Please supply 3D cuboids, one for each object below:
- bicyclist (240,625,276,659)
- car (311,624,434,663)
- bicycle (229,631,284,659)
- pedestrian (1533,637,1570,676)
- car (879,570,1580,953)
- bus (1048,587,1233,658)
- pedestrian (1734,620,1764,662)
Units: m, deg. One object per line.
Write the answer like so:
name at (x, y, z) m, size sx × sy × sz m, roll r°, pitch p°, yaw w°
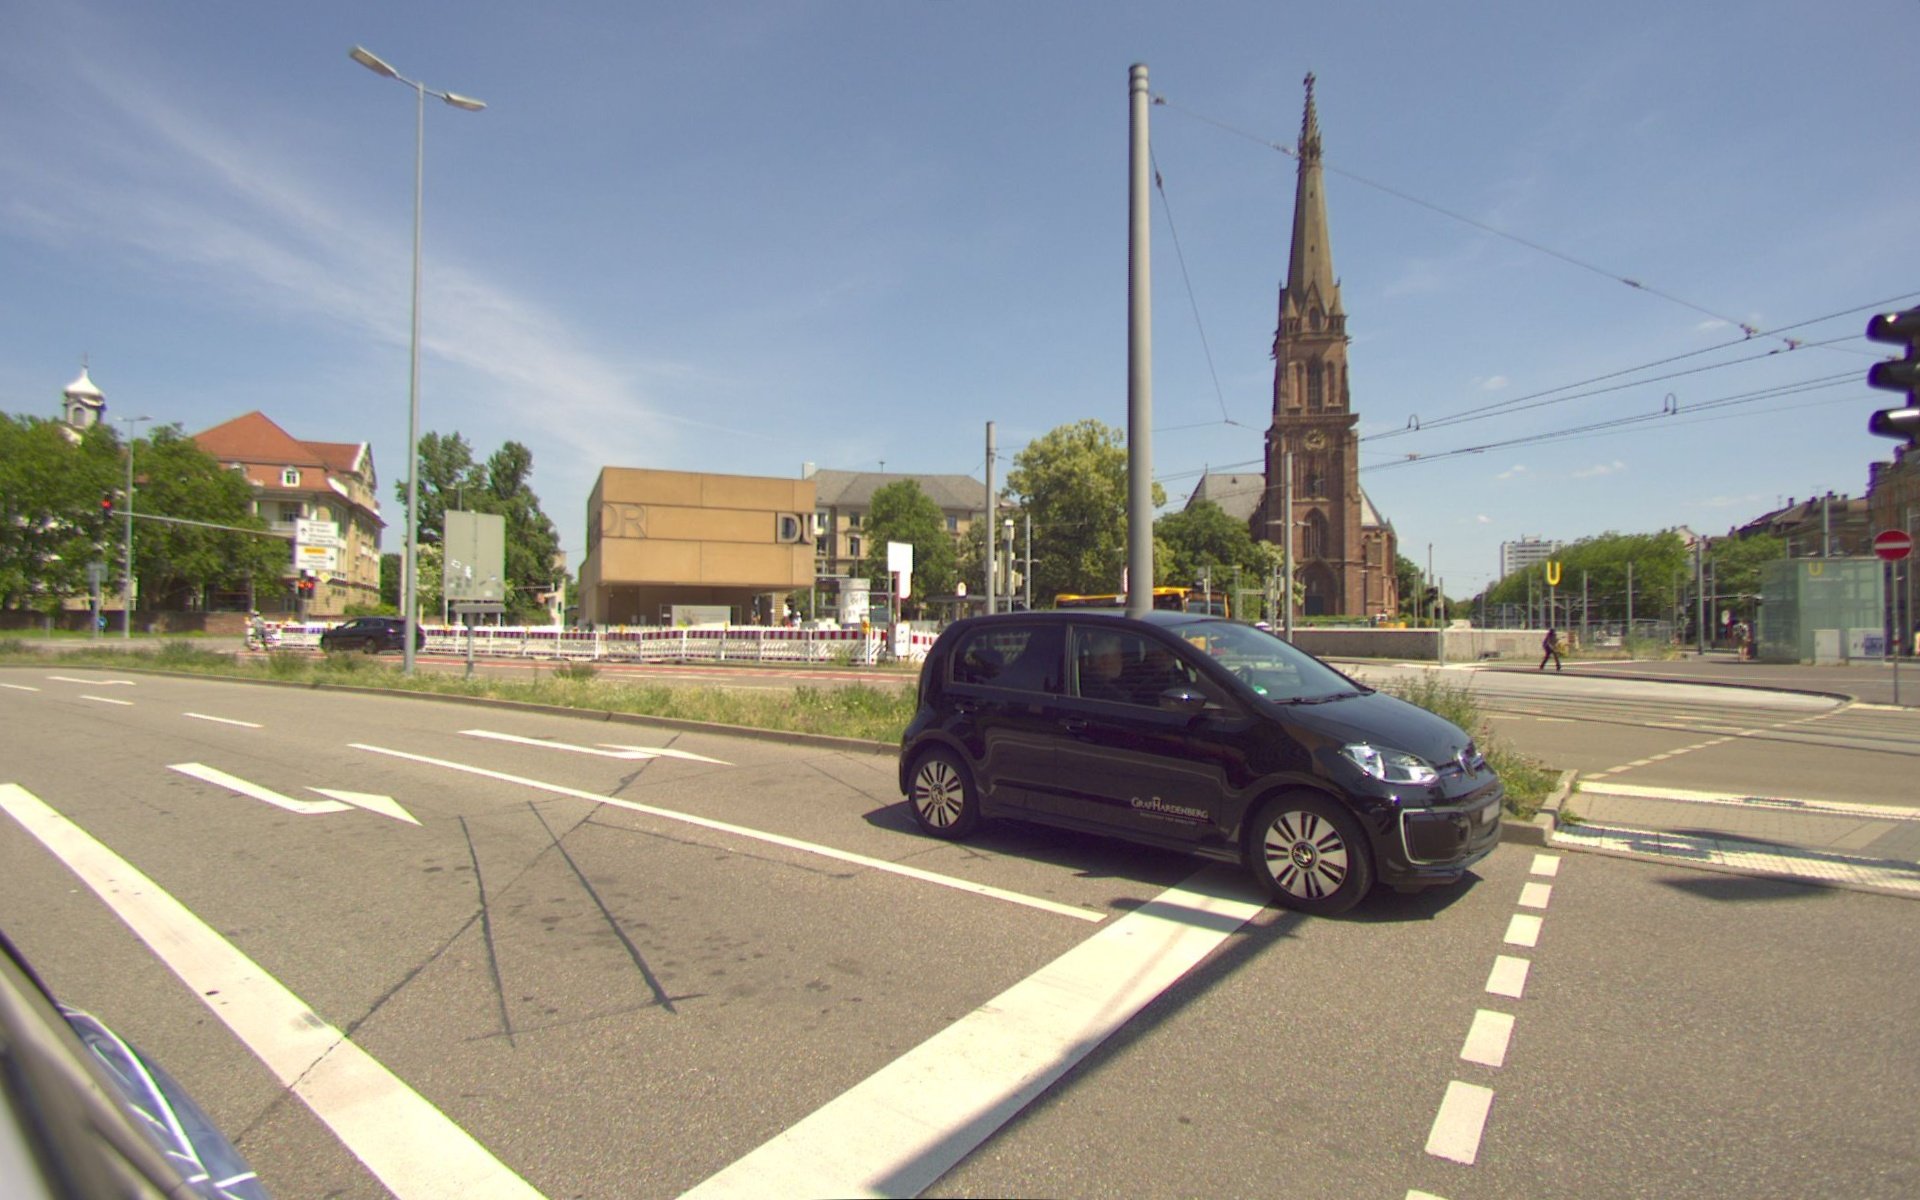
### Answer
bicyclist at (-28.919, 1.730, 41.697) m, size 1.431 × 1.366 × 0.582 m, roll 0°, pitch 0°, yaw 25°
car at (-23.315, 1.707, 40.118) m, size 4.823 × 1.476 × 1.981 m, roll -1°, pitch -2°, yaw 28°
bicycle at (-29.052, 1.834, 41.784) m, size 2.219 × 1.080 × 0.871 m, roll 0°, pitch 0°, yaw 25°
pedestrian at (20.684, 1.961, 35.384) m, size 0.518 × 1.344 × 1.001 m, roll 1°, pitch -2°, yaw -18°
car at (1.401, 0.727, 6.130) m, size 3.737 × 1.588 × 1.724 m, roll -2°, pitch -3°, yaw 43°
bus at (8.353, 1.151, 49.567) m, size 2.807 × 3.039 × 12.260 m, roll 1°, pitch -2°, yaw -22°
pedestrian at (35.322, 1.837, 45.317) m, size 0.674 × 1.827 × 1.125 m, roll 0°, pitch -2°, yaw 17°
